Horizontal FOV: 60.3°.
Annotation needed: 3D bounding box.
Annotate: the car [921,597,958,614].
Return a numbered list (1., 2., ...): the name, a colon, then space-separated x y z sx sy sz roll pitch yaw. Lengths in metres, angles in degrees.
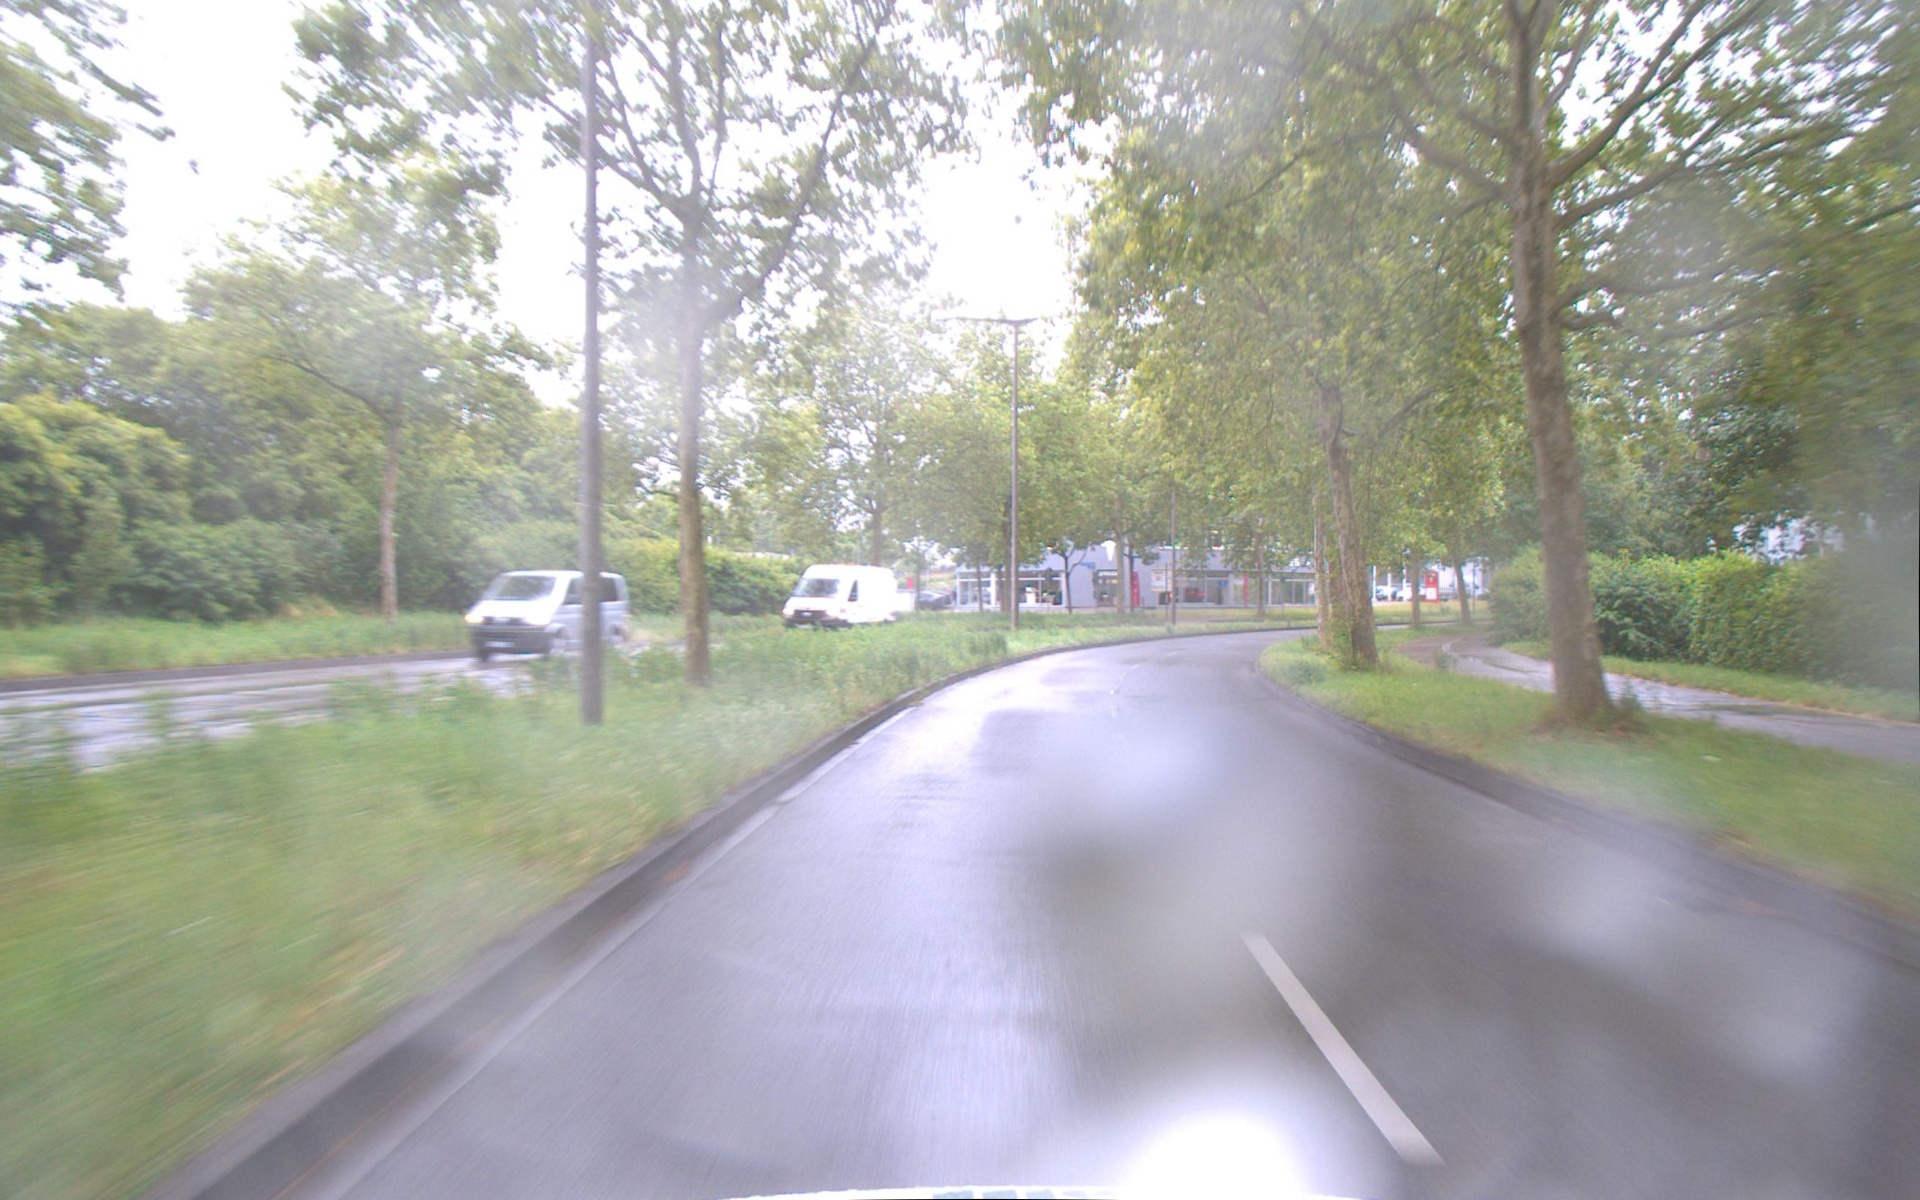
1. car: -1.933 0.545 155.489 3.235 1.520 1.599 1 0 14

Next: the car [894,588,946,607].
1. car: -3.336 -0.179 137.987 4.102 1.520 1.599 1 0 14

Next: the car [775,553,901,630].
1. car: -4.057 -0.289 56.370 2.230 2.469 6.364 0 0 16

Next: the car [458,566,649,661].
1. car: -9.004 0.269 37.146 1.893 1.974 5.201 0 0 15
